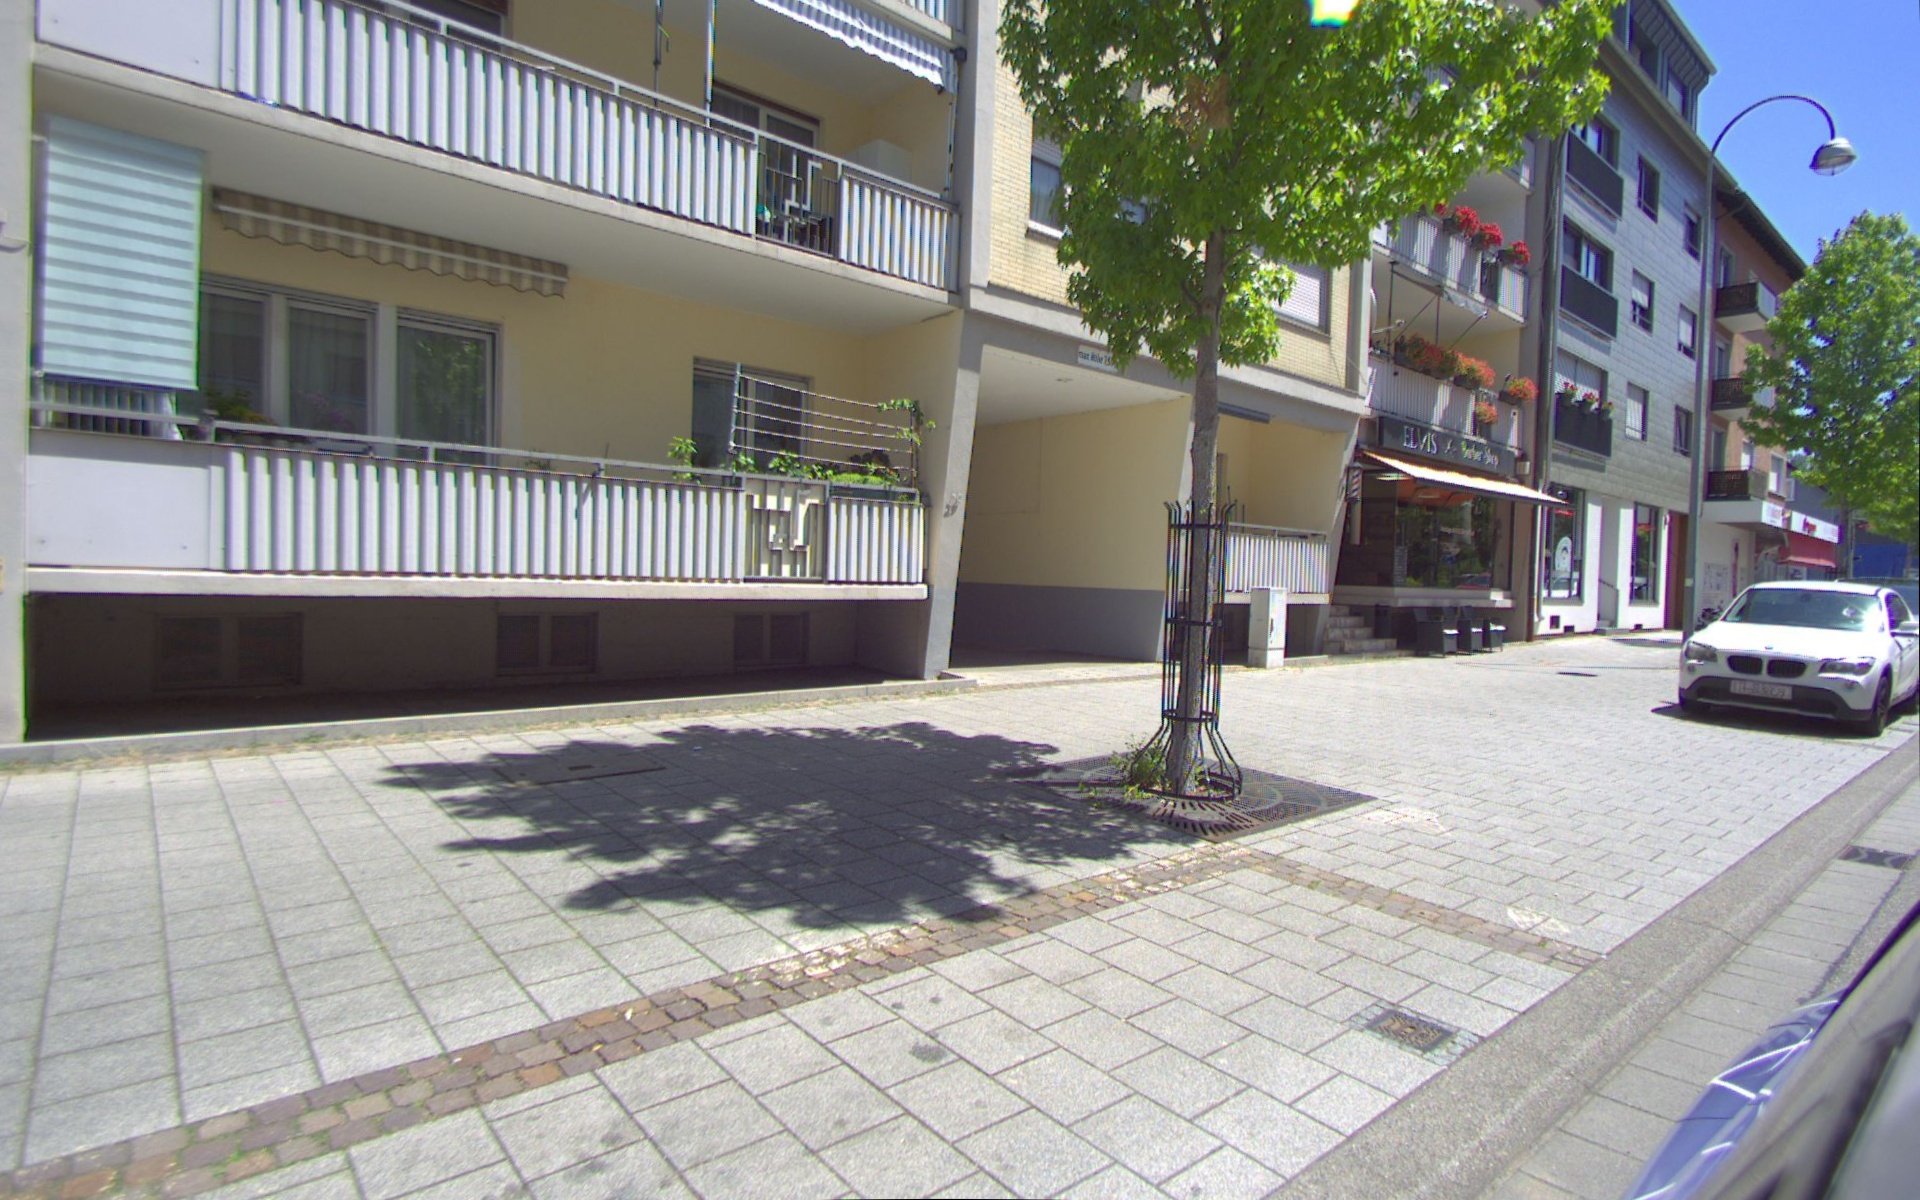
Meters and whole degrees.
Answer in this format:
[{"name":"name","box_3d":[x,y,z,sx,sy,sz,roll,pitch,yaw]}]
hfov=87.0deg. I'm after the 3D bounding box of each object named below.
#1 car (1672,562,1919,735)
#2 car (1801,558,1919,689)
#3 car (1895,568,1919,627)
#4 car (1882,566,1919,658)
[{"name":"car","box_3d":[9.952,0.426,11.693,4.149,1.602,1.727,-1,4,-39]},{"name":"car","box_3d":[14.417,0.296,15.326,4.623,1.726,1.768,0,4,-41]},{"name":"car","box_3d":[30.280,-0.059,31.204,1.745,1.745,3.855,5,4,39]},{"name":"car","box_3d":[18.158,0.217,18.364,3.773,1.578,1.626,-1,3,-41]}]
